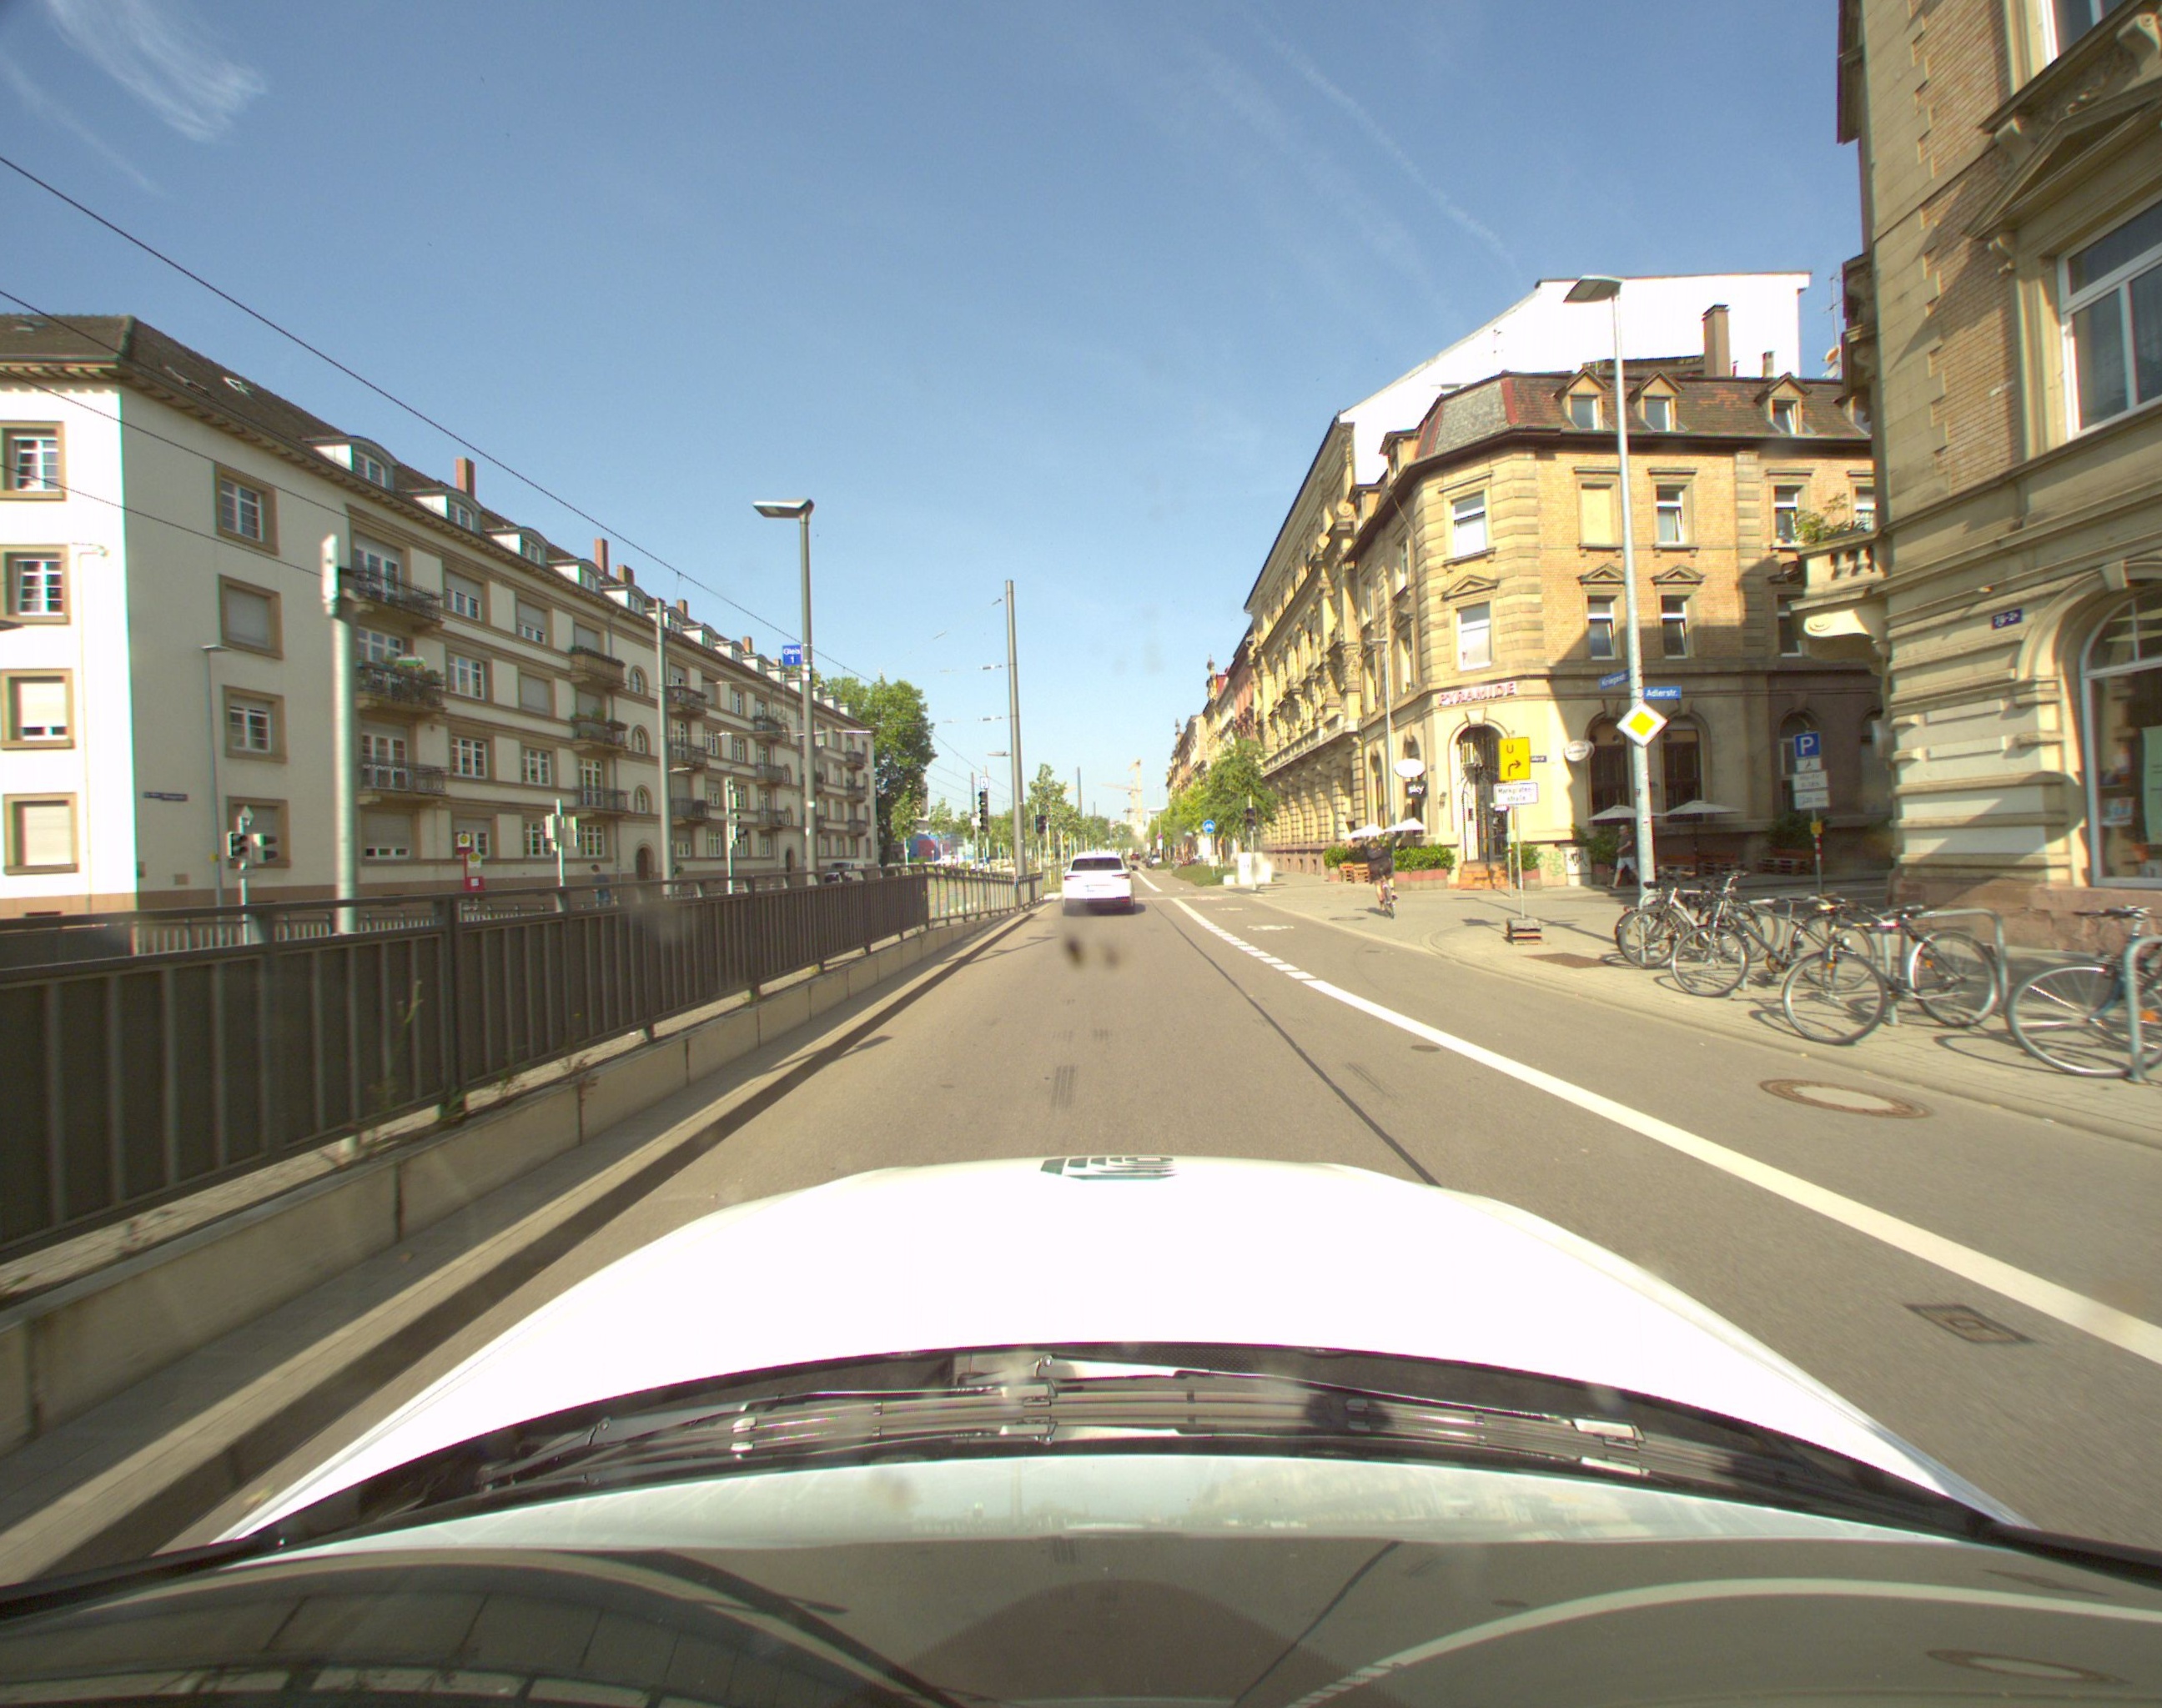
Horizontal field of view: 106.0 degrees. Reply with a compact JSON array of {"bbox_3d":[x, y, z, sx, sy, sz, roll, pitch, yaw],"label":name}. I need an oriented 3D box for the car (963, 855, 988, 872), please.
[{"bbox_3d":[-12.554,1.155,97.613,1.985,1.895,5.051,-3,0,3],"label":"car"}]

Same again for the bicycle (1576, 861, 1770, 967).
[{"bbox_3d":[6.972,0.695,9.651,1.744,1.087,0.583,-5,0,5],"label":"bicycle"}]

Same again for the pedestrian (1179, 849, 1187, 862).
[{"bbox_3d":[13.981,0.186,111.560,0.820,1.696,0.793,-4,0,-2],"label":"pedestrian"}]

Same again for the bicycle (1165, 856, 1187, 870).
[{"bbox_3d":[7.957,0.747,68.367,1.778,1.054,0.373,-4,0,1],"label":"bicycle"}]

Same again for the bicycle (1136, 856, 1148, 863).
[{"bbox_3d":[12.107,1.096,161.707,2.229,1.104,0.589,-4,0,4],"label":"bicycle"}]

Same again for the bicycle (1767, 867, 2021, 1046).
[{"bbox_3d":[6.326,0.737,6.335,1.762,1.087,0.668,-6,0,-21],"label":"bicycle"}]

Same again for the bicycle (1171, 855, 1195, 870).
[{"bbox_3d":[8.364,0.735,67.029,1.803,1.096,0.671,-4,0,-3],"label":"bicycle"}]

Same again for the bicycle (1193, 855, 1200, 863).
[{"bbox_3d":[15.415,0.646,108.778,0.450,1.083,1.445,-2,0,-6],"label":"bicycle"}]

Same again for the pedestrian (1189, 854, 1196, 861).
[{"bbox_3d":[15.413,0.532,112.604,0.875,0.876,0.711,-4,0,-1],"label":"pedestrian"}]

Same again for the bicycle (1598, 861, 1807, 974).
[{"bbox_3d":[6.863,0.690,9.053,1.744,1.087,0.583,-5,0,5],"label":"bicycle"}]

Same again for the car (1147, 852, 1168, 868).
[{"bbox_3d":[8.355,0.660,89.682,1.764,1.588,4.246,-4,0,-1],"label":"car"}]

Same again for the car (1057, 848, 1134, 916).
[{"bbox_3d":[0.453,0.668,21.674,1.810,1.590,4.410,-2,0,3],"label":"car"}]

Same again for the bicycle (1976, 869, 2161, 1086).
[{"bbox_3d":[6.783,0.701,5.089,1.754,1.087,0.656,-6,0,-7],"label":"bicycle"}]

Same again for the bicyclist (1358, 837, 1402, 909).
[{"bbox_3d":[6.355,0.393,17.348,0.581,1.482,0.932,-2,0,3],"label":"bicyclist"}]

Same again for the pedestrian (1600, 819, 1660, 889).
[{"bbox_3d":[14.840,-0.014,22.034,0.859,1.806,0.993,-4,1,-1],"label":"pedestrian"}]

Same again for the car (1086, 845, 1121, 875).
[{"bbox_3d":[1.267,0.310,43.708,1.747,1.484,4.410,-2,0,3],"label":"car"}]

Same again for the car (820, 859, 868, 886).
[{"bbox_3d":[-18.431,1.410,63.681,1.985,1.918,5.157,-1,0,3],"label":"car"}]

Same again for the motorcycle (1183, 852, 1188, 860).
[{"bbox_3d":[15.633,0.265,121.489,0.461,1.175,1.947,-5,0,3],"label":"motorcycle"}]

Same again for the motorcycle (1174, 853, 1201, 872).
[{"bbox_3d":[8.230,0.640,62.933,2.048,1.287,0.698,-4,1,-31],"label":"motorcycle"}]

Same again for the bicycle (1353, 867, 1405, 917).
[{"bbox_3d":[6.356,0.796,17.444,0.503,0.953,1.786,-2,0,3],"label":"bicycle"}]

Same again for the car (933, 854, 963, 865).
[{"bbox_3d":[-32.449,1.324,198.836,6.894,2.638,2.499,0,-1,-19],"label":"car"}]

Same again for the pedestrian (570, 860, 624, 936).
[{"bbox_3d":[-12.581,1.128,21.219,1.073,1.867,0.857,-2,-1,-25],"label":"pedestrian"}]

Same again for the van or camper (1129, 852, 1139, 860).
[{"bbox_3d":[11.846,0.510,182.584,1.986,1.655,4.002,-3,0,2],"label":"van or camper"}]

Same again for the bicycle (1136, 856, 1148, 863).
[{"bbox_3d":[12.162,1.101,162.261,2.229,1.104,0.519,-4,0,4],"label":"bicycle"}]

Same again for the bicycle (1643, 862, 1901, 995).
[{"bbox_3d":[6.552,0.694,7.806,1.745,1.087,0.670,-5,0,7],"label":"bicycle"}]

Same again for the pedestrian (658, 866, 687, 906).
[{"bbox_3d":[-21.625,1.683,43.158,0.839,2.068,1.158,-1,0,3],"label":"pedestrian"}]
